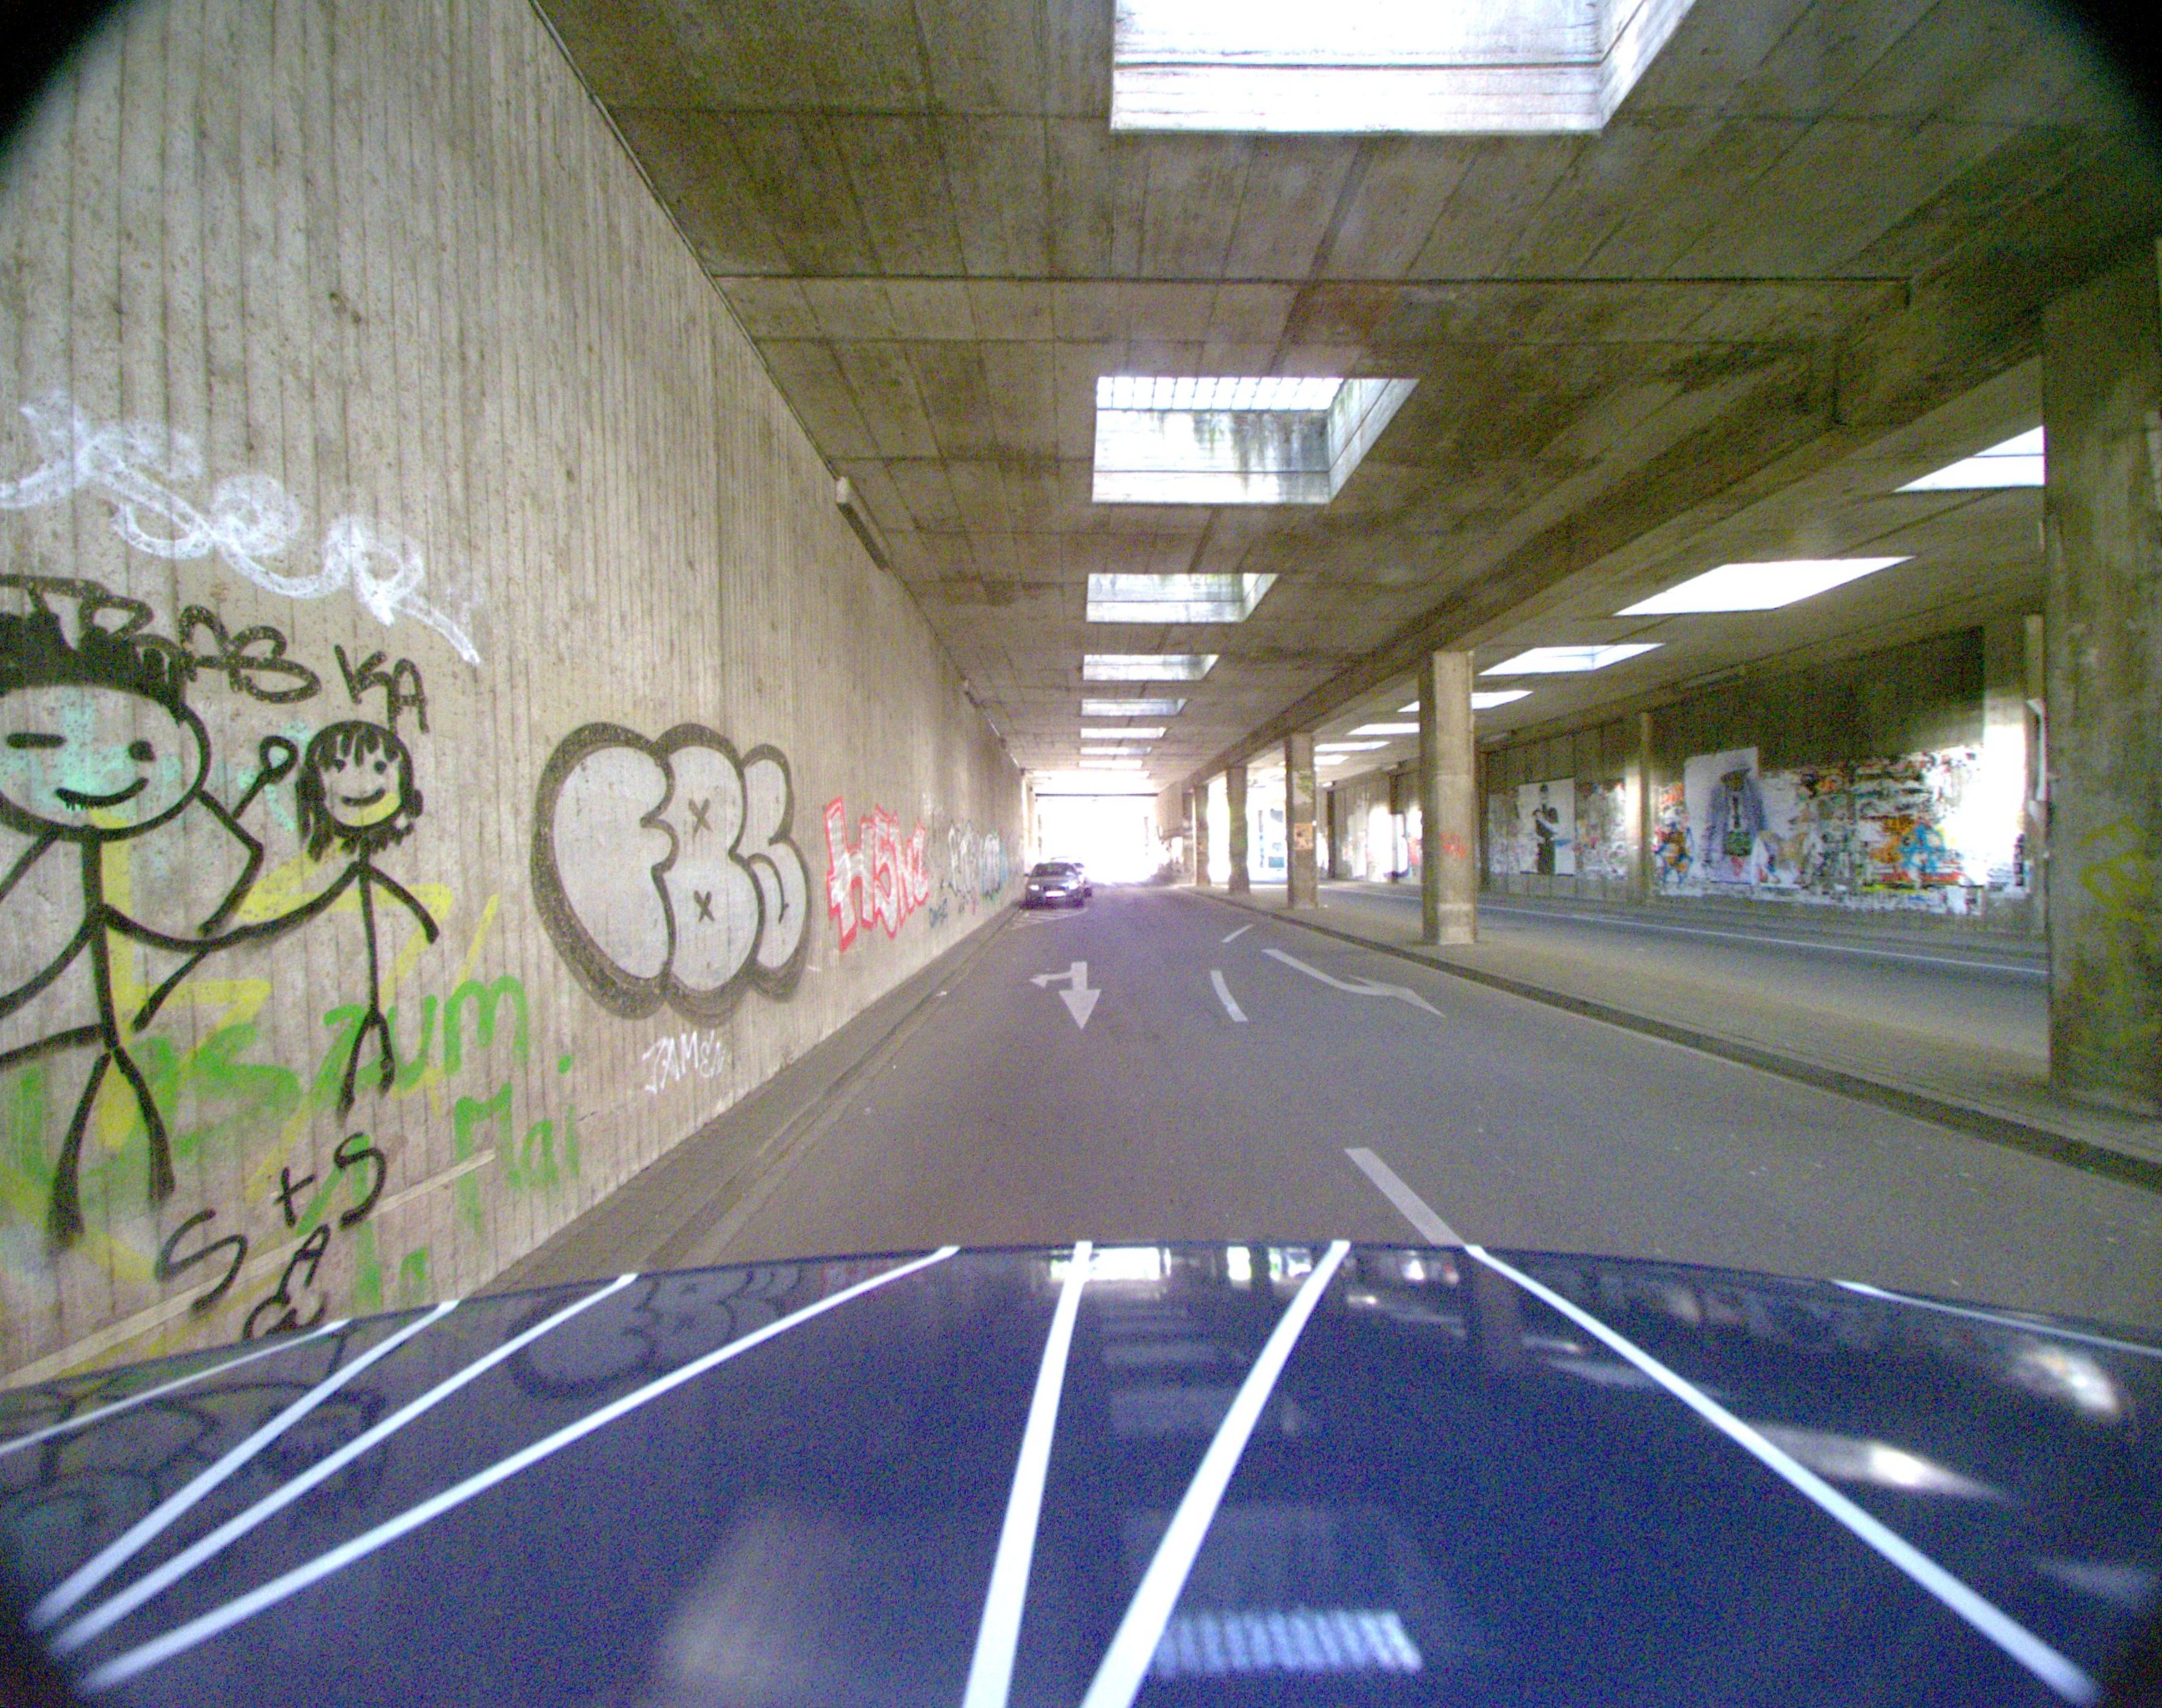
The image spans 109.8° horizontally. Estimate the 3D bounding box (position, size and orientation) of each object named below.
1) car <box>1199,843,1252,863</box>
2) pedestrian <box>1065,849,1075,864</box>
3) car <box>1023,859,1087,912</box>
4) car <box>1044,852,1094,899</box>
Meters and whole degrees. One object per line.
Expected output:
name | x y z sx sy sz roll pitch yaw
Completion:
car | 14.558 -0.093 76.845 4.858 1.740 1.999 -2 1 -7
pedestrian | -1.559 0.337 107.627 1.215 2.002 1.489 -2 1 -1
car | -0.731 0.920 23.967 1.767 1.407 3.999 -2 1 1
car | -0.504 0.780 29.811 1.767 1.634 3.999 -2 1 -2
